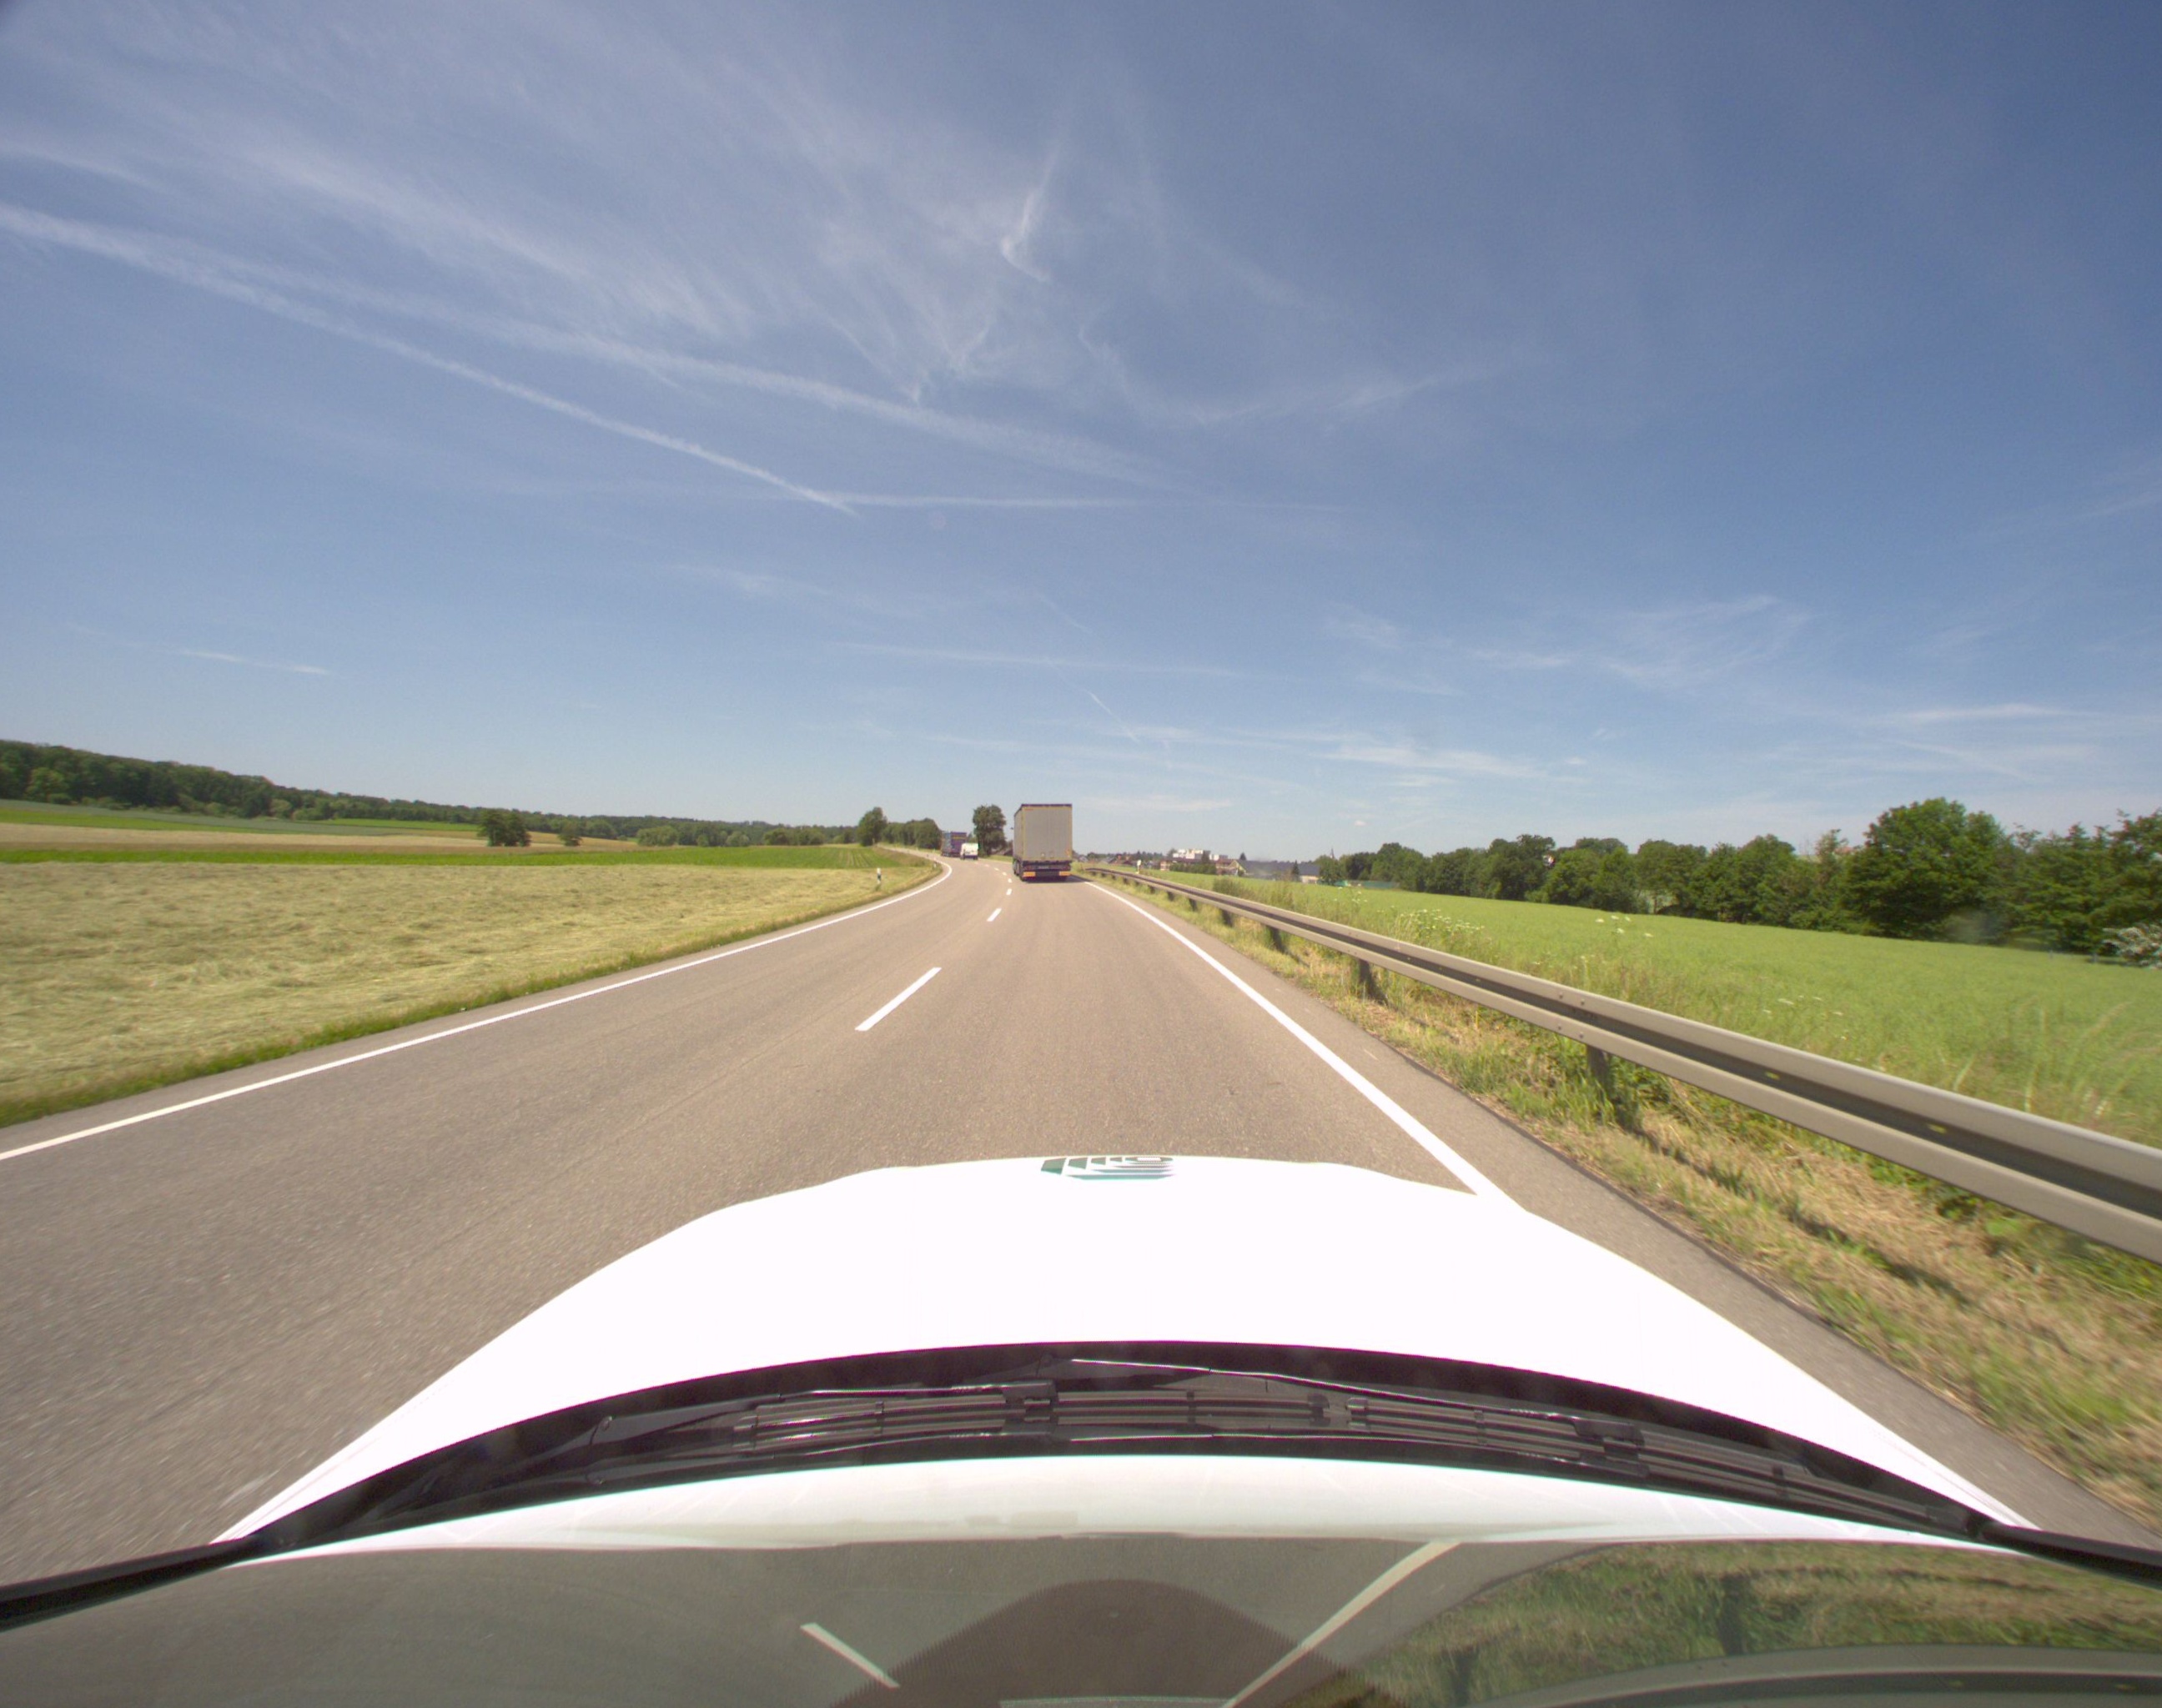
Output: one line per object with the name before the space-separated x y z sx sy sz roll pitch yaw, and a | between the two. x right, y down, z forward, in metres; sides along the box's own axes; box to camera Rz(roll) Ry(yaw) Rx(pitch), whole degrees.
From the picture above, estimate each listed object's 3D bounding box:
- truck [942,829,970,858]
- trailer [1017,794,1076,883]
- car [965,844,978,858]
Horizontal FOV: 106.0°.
truck | -21.006 -1.648 135.464 3.552 4.392 18.047 1 0 -12
trailer | -2.203 -0.825 47.176 2.861 4.400 13.473 -1 0 -4
car | -14.978 -0.435 111.370 1.725 1.872 3.988 1 0 -9
